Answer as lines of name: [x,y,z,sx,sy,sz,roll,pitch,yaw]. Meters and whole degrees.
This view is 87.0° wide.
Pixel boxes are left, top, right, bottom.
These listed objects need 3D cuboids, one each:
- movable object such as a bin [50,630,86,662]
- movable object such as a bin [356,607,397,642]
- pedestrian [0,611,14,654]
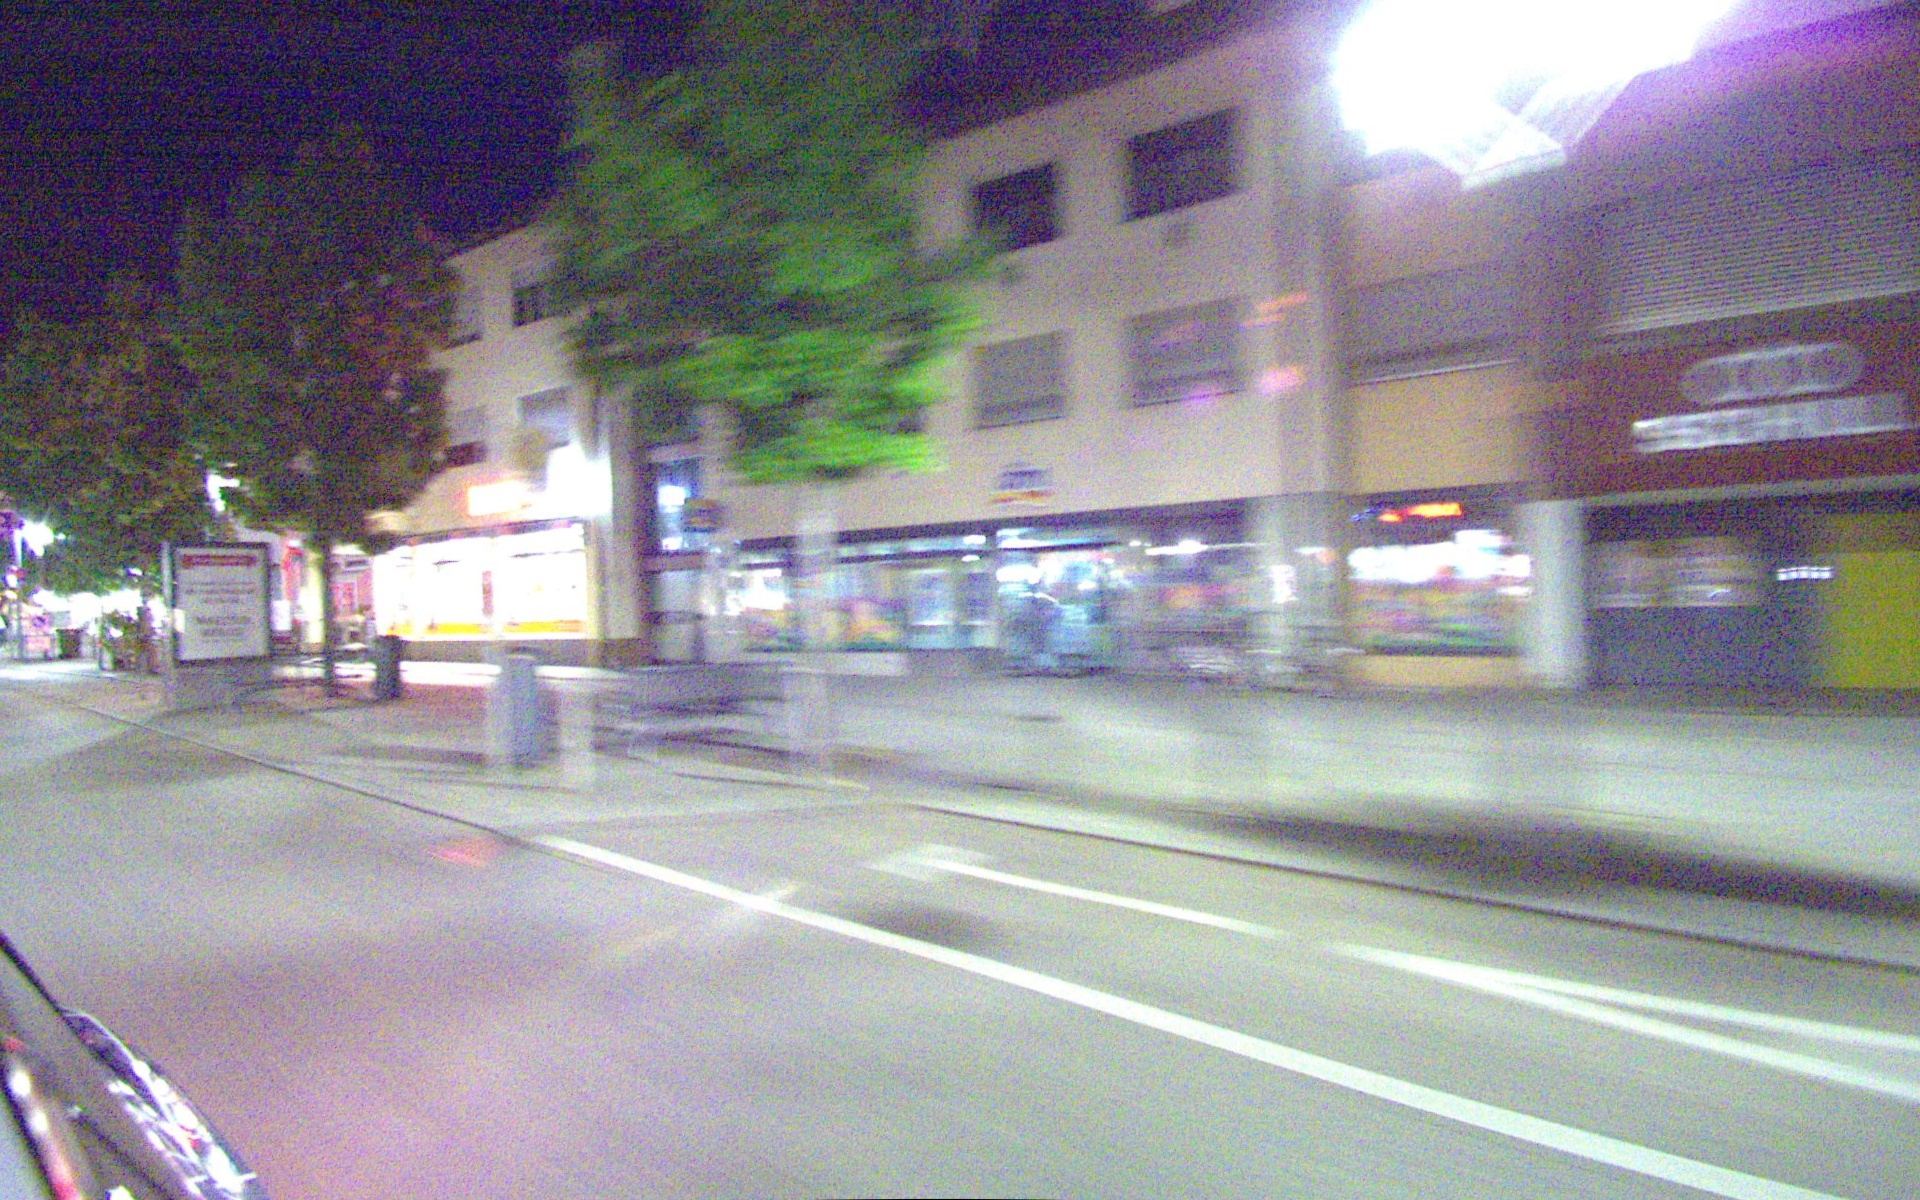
movable object such as a bin: [-31.130,1.589,35.318,0.789,1.073,0.741,0,0,31]
movable object such as a bin: [-24.943,1.028,43.259,1.282,1.455,1.028,0,1,32]
pedestrian: [-41.846,1.414,44.078,0.781,1.831,1.026,-3,1,-36]
